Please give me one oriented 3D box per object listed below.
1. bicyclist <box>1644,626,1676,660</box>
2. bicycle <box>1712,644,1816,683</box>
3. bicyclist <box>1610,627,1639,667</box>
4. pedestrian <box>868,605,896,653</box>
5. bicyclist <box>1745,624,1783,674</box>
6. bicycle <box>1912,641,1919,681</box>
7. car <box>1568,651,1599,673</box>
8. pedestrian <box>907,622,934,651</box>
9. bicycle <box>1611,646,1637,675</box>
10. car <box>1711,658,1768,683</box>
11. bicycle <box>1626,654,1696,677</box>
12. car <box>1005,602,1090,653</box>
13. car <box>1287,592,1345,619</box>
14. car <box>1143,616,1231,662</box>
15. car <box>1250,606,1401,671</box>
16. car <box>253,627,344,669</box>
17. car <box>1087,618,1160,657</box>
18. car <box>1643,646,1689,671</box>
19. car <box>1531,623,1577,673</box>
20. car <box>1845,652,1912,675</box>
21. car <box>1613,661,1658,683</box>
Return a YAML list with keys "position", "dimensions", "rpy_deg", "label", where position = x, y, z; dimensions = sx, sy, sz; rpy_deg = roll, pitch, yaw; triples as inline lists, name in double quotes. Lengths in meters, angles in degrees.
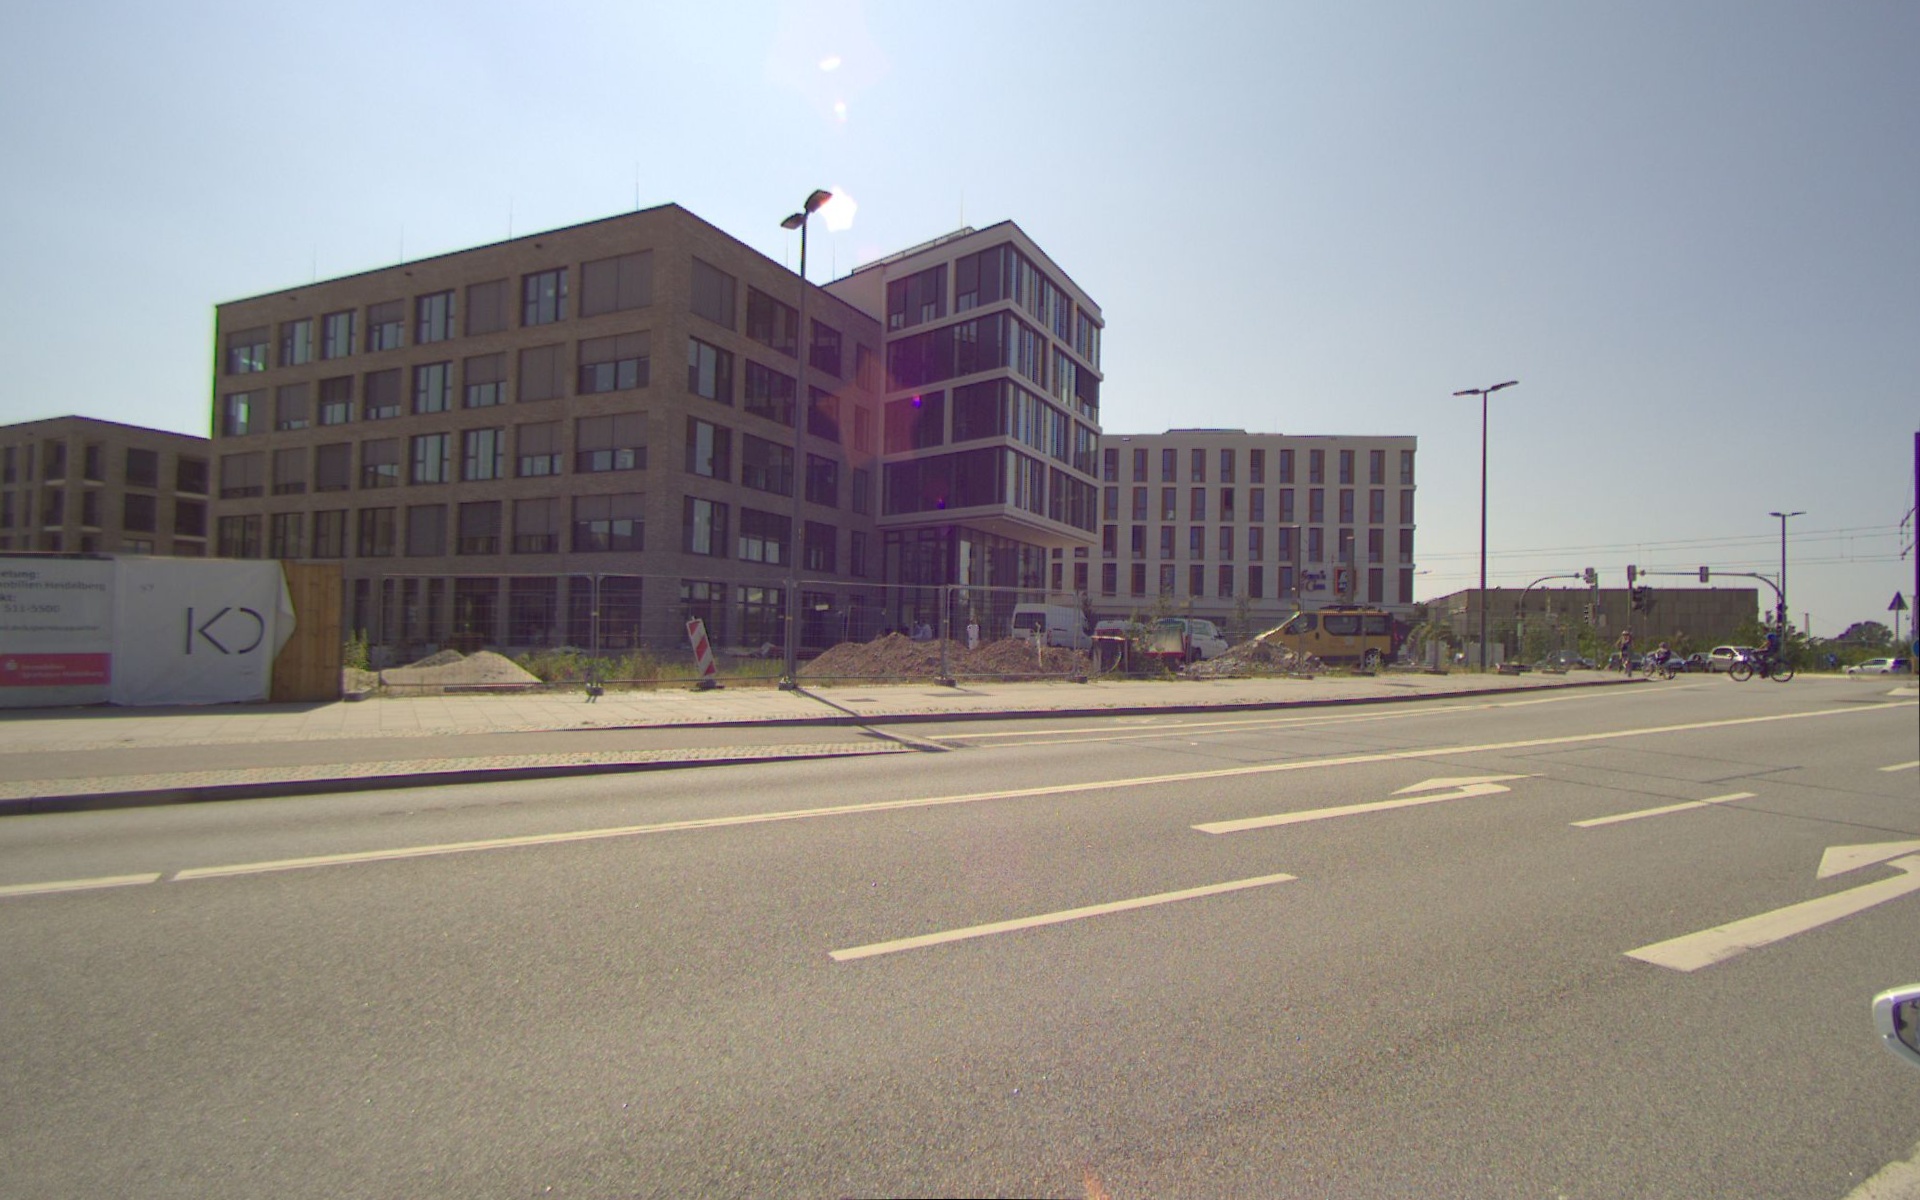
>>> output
- position: [25.357, 1.568, 36.379]
  dimensions: [0.722, 1.191, 0.654]
  rpy_deg: [2, 0, -29]
  label: "bicyclist"
- position: [26.193, 2.071, 32.763]
  dimensions: [0.723, 1.148, 2.503]
  rpy_deg: [0, -5, -42]
  label: "bicycle"
- position: [25.909, 1.832, 39.185]
  dimensions: [0.828, 1.522, 0.658]
  rpy_deg: [2, 0, 27]
  label: "bicyclist"
- position: [-3.375, 1.248, 43.500]
  dimensions: [0.949, 2.040, 0.940]
  rpy_deg: [2, 0, -17]
  label: "pedestrian"
- position: [26.196, 1.591, 32.740]
  dimensions: [0.857, 1.580, 0.814]
  rpy_deg: [2, 0, -43]
  label: "bicyclist"
- position: [29.049, 1.825, 28.869]
  dimensions: [0.671, 1.142, 2.341]
  rpy_deg: [2, 0, -36]
  label: "bicycle"
- position: [58.295, 5.784, 93.970]
  dimensions: [1.685, 1.764, 4.210]
  rpy_deg: [2, 0, 23]
  label: "car"
- position: [-1.953, 1.787, 49.442]
  dimensions: [1.099, 1.391, 0.742]
  rpy_deg: [2, 0, -17]
  label: "pedestrian"
- position: [25.925, 2.352, 39.245]
  dimensions: [0.594, 1.020, 2.509]
  rpy_deg: [1, -1, 28]
  label: "bicycle"
- position: [44.328, 3.998, 57.133]
  dimensions: [2.449, 1.257, 1.272]
  rpy_deg: [1, -1, 43]
  label: "car"
- position: [25.341, 2.351, 36.355]
  dimensions: [0.507, 0.701, 2.246]
  rpy_deg: [2, -1, -16]
  label: "bicycle"
- position: [3.970, 1.226, 44.715]
  dimensions: [2.175, 2.083, 4.164]
  rpy_deg: [2, 0, 30]
  label: "car"
- position: [29.094, 0.408, 82.123]
  dimensions: [1.986, 2.040, 3.949]
  rpy_deg: [2, 0, -43]
  label: "car"
- position: [9.574, 1.620, 42.186]
  dimensions: [1.969, 1.730, 4.546]
  rpy_deg: [2, 0, 35]
  label: "car"
- position: [12.195, 1.256, 33.758]
  dimensions: [4.395, 1.915, 2.001]
  rpy_deg: [2, 0, 8]
  label: "car"
- position: [-30.441, 2.177, 46.220]
  dimensions: [3.708, 1.675, 1.834]
  rpy_deg: [2, 0, 26]
  label: "car"
- position: [7.163, 1.605, 43.746]
  dimensions: [1.773, 1.528, 3.991]
  rpy_deg: [2, 0, 31]
  label: "car"
- position: [47.492, 3.901, 67.628]
  dimensions: [1.554, 1.458, 3.155]
  rpy_deg: [2, 0, 15]
  label: "car"
- position: [26.477, 2.095, 44.807]
  dimensions: [1.646, 2.040, 3.992]
  rpy_deg: [2, 0, 31]
  label: "car"
- position: [59.597, 4.121, 65.216]
  dimensions: [1.493, 1.321, 3.224]
  rpy_deg: [1, -1, 3]
  label: "car"
- position: [54.932, 5.831, 81.755]
  dimensions: [1.961, 1.475, 4.486]
  rpy_deg: [2, 0, 20]
  label: "car"
